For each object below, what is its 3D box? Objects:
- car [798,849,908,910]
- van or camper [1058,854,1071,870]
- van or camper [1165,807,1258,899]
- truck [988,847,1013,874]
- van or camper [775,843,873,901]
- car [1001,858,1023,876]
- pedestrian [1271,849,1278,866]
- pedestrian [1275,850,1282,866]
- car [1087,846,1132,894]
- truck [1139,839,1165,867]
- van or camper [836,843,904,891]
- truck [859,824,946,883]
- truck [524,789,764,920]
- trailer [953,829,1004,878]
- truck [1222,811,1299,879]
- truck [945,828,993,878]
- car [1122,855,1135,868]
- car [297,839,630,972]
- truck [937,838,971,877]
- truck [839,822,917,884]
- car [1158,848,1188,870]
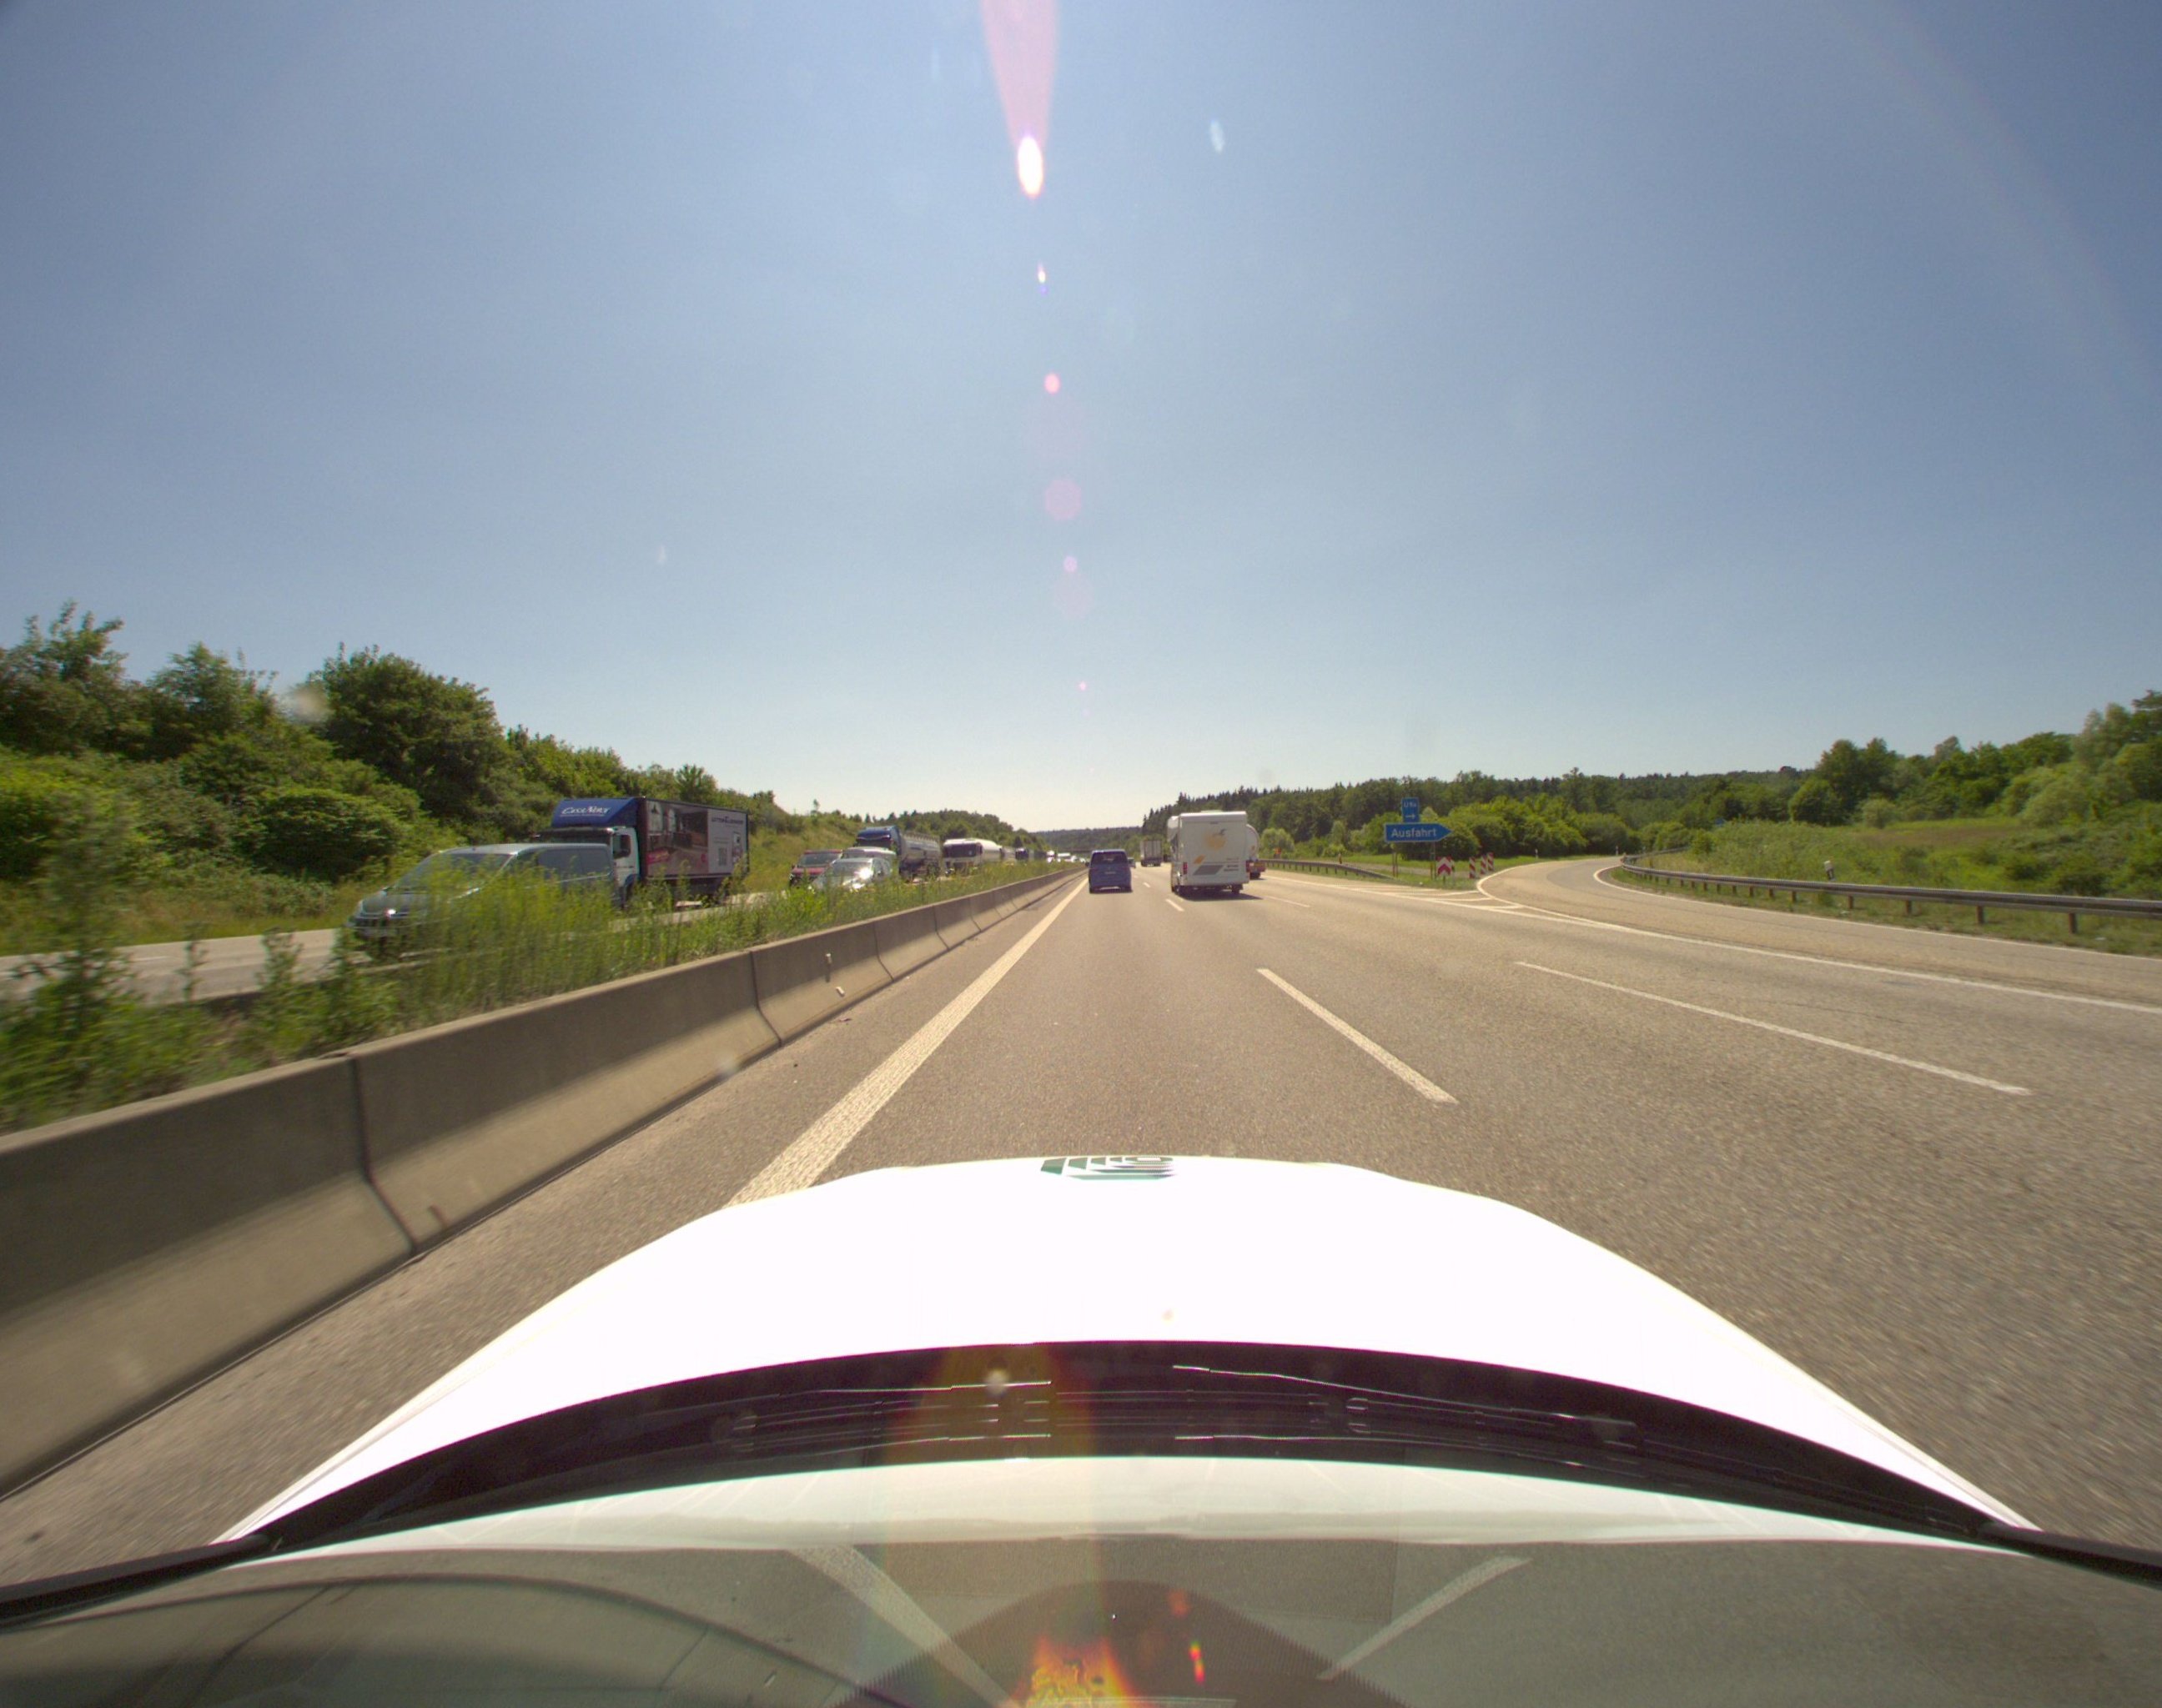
[{"bbox_3d":[-6.616,0.717,24.205,1.747,1.584,4.856,-1,-1,2],"label":"car"},{"bbox_3d":[-3.039,1.500,154.672,1.986,2.877,7.645,0,-1,2],"label":"van or camper"},{"bbox_3d":[4.752,0.007,30.999,2.593,3.079,7.184,0,-1,2],"label":"van or camper"},{"bbox_3d":[-11.561,0.967,117.819,2.682,3.879,6.319,-1,-1,2],"label":"truck"},{"bbox_3d":[-10.542,0.724,33.959,1.986,2.153,5.956,-2,-1,1],"label":"van or camper"},{"bbox_3d":[-8.274,1.545,98.022,2.077,2.063,5.061,-1,-1,2],"label":"car"},{"bbox_3d":[24.377,0.461,102.818,0.685,2.080,0.928,0,-1,2],"label":"pedestrian"},{"bbox_3d":[25.446,0.492,105.021,0.685,2.080,0.928,0,-1,2],"label":"pedestrian"},{"bbox_3d":[1.310,0.698,37.130,1.902,2.014,4.001,-2,-1,2],"label":"car"},{"bbox_3d":[10.783,-0.140,125.003,3.474,4.170,8.644,0,-1,2],"label":"truck"},{"bbox_3d":[-10.339,0.638,40.269,1.986,2.153,4.719,-2,-1,1],"label":"van or camper"},{"bbox_3d":[-13.575,-0.018,63.395,3.565,4.093,12.584,-1,0,2],"label":"truck"},{"bbox_3d":[-14.328,0.073,28.044,2.535,3.675,9.941,-1,-1,2],"label":"truck"},{"bbox_3d":[-9.111,0.045,73.889,2.670,3.950,11.646,-4,-1,1],"label":"trailer"},{"bbox_3d":[10.444,-0.505,48.337,2.916,3.575,8.531,-2,0,2],"label":"truck"},{"bbox_3d":[-9.263,-0.031,67.853,2.608,3.890,7.405,-2,-1,2],"label":"truck"},{"bbox_3d":[6.751,1.067,115.969,1.811,1.794,3.895,0,-1,2],"label":"car"},{"bbox_3d":[-10.646,0.806,14.724,2.016,1.958,5.096,-1,-1,2],"label":"car"},{"bbox_3d":[-13.615,0.416,87.725,2.079,4.029,7.882,0,-1,2],"label":"truck"},{"bbox_3d":[-13.832,-0.017,56.092,3.477,4.037,6.646,0,-1,2],"label":"truck"},{"bbox_3d":[6.740,0.397,60.052,1.902,1.475,4.001,-2,-1,2],"label":"car"}]
